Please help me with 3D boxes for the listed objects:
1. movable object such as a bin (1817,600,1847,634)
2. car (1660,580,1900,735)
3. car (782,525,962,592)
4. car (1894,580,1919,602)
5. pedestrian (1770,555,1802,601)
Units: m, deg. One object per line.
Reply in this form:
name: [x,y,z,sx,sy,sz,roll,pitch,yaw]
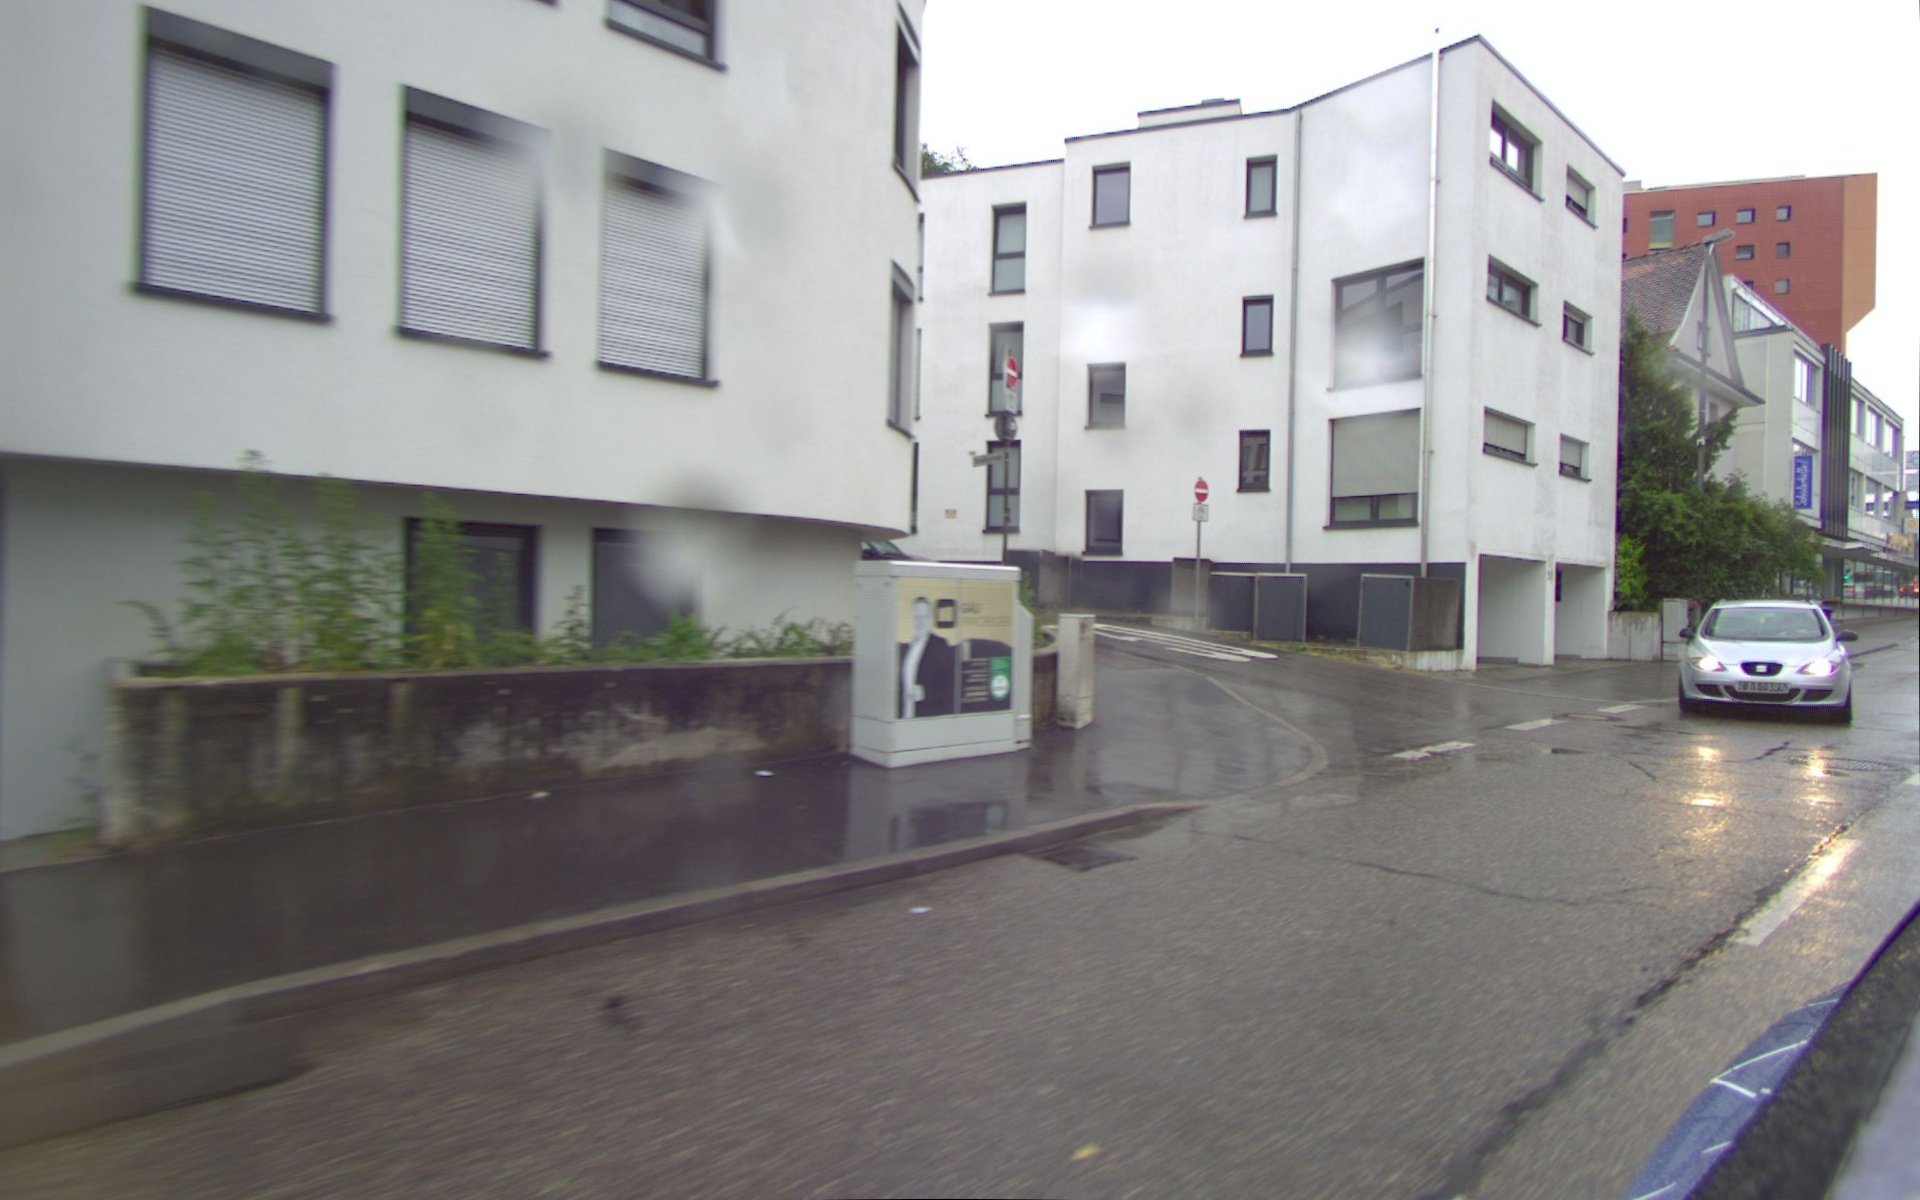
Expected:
movable object such as a bin: [28.125,0.545,32.646,0.816,1.061,0.577,1,1,-41]
car: [11.338,0.624,13.888,4.289,1.641,2.013,-4,3,-43]
car: [-2.034,-1.012,23.559,3.786,1.332,1.768,3,5,18]
car: [66.963,-0.624,70.474,1.596,1.480,3.403,1,2,20]
pedestrian: [32.909,-0.858,40.334,0.934,1.803,0.732,1,0,-33]
